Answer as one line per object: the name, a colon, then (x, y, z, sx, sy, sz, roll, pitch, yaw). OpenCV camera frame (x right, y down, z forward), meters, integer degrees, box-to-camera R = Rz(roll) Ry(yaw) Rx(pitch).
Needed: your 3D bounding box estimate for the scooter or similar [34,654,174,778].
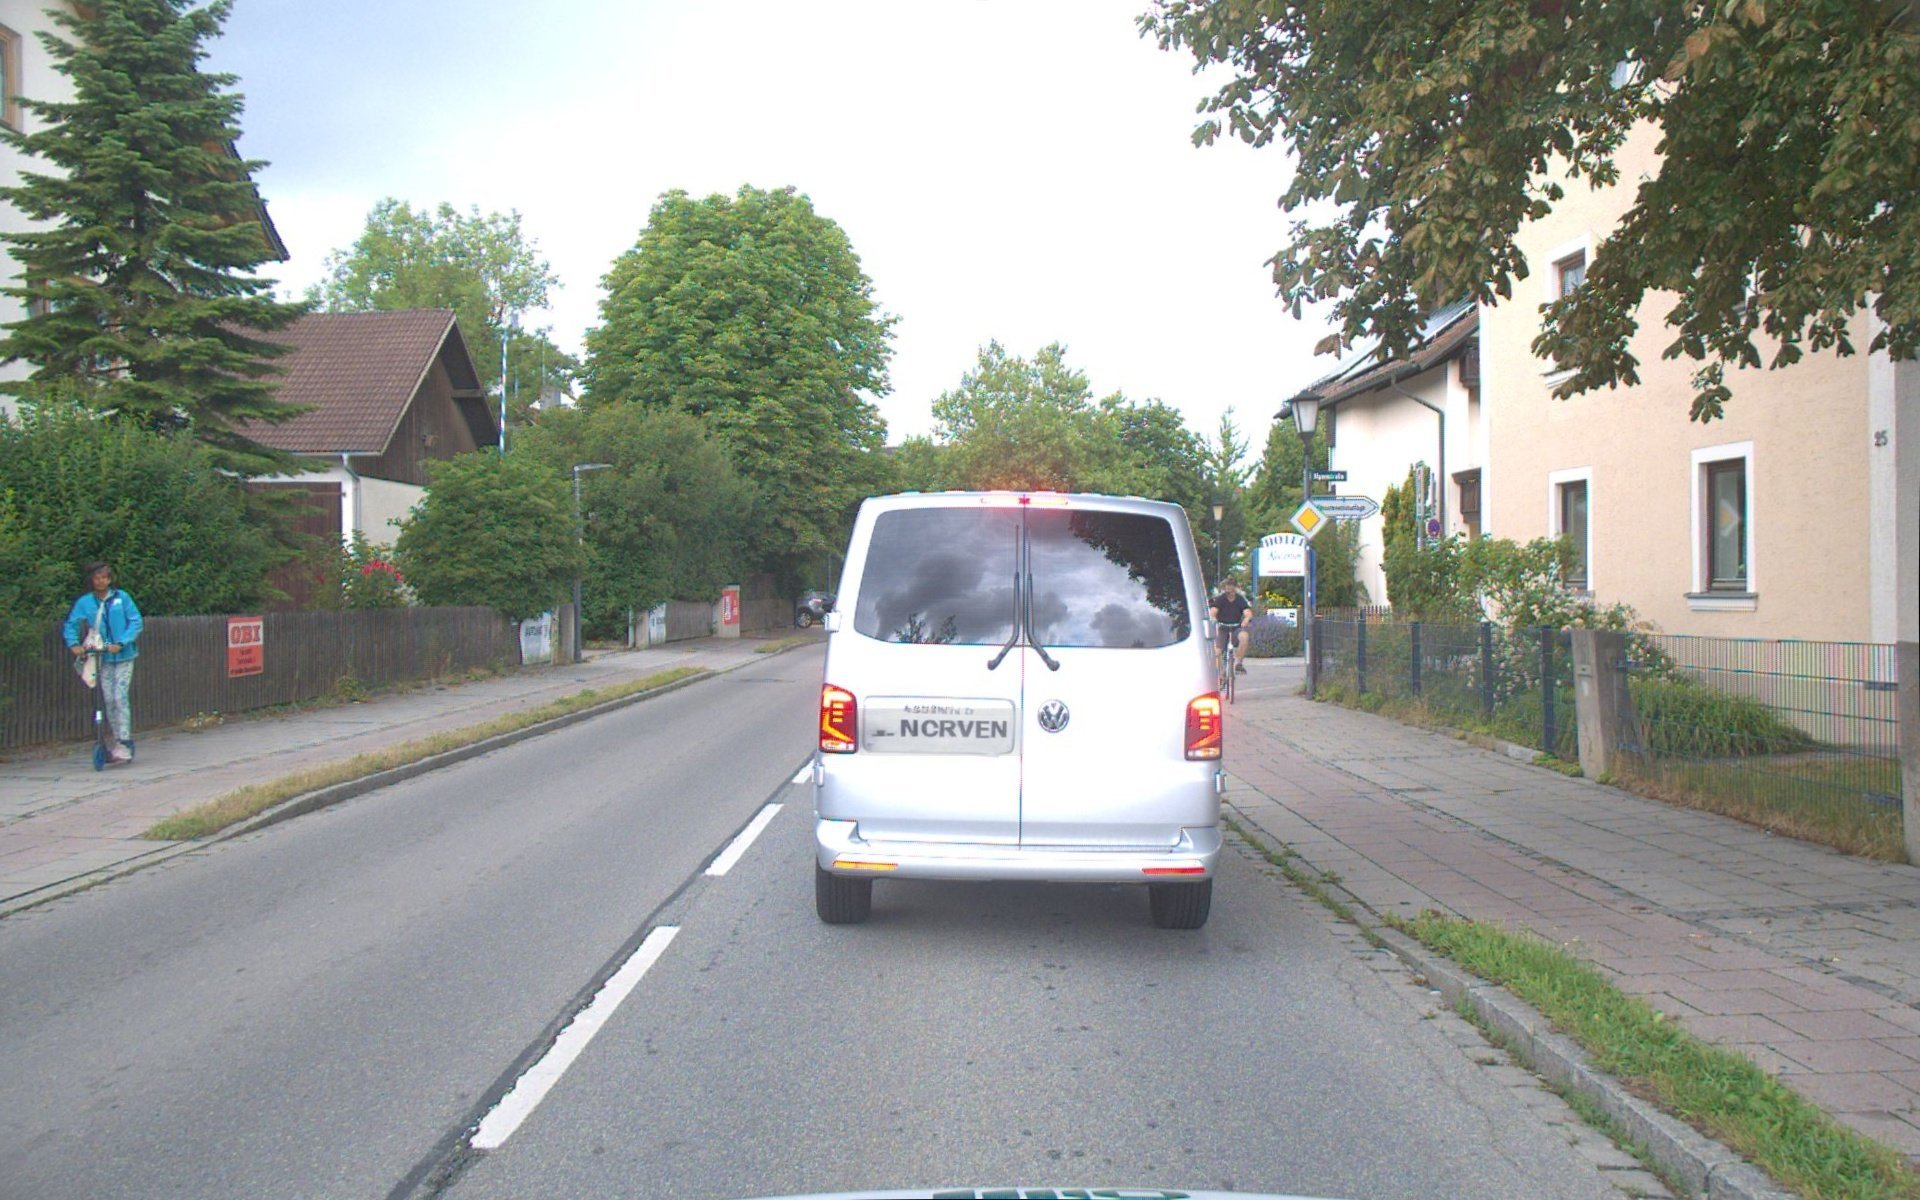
scooter or similar: (-6.525, 0.865, 12.648, 0.511, 0.865, 1.061, 0, 0, 0)

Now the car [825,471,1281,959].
car: (0.388, 0.461, 8.665, 1.842, 1.974, 3.920, 0, 0, 0)

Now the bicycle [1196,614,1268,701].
bicycle: (3.913, 0.805, 23.897, 0.749, 1.163, 1.845, -1, 0, 1)

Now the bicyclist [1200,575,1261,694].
bicyclist: (3.894, 0.488, 23.826, 0.721, 1.661, 0.890, -1, 0, 1)

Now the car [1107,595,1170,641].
car: (6.246, 0.592, 57.632, 1.841, 1.562, 3.924, 0, 0, 11)

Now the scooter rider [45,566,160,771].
scooter rider: (-6.548, 0.508, 12.656, 0.492, 1.515, 0.716, 0, 0, 0)

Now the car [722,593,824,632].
car: (-7.385, 0.485, 65.244, 3.913, 1.512, 1.996, 0, 0, -9)

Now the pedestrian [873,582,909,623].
pedestrian: (-3.167, 0.109, 75.893, 1.051, 1.834, 1.313, 0, 0, 45)

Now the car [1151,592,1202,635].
car: (9.255, 0.553, 70.559, 1.841, 1.779, 4.084, 0, 0, 12)

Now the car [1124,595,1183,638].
car: (7.476, 0.608, 63.610, 1.841, 1.562, 3.924, 0, 0, 13)
